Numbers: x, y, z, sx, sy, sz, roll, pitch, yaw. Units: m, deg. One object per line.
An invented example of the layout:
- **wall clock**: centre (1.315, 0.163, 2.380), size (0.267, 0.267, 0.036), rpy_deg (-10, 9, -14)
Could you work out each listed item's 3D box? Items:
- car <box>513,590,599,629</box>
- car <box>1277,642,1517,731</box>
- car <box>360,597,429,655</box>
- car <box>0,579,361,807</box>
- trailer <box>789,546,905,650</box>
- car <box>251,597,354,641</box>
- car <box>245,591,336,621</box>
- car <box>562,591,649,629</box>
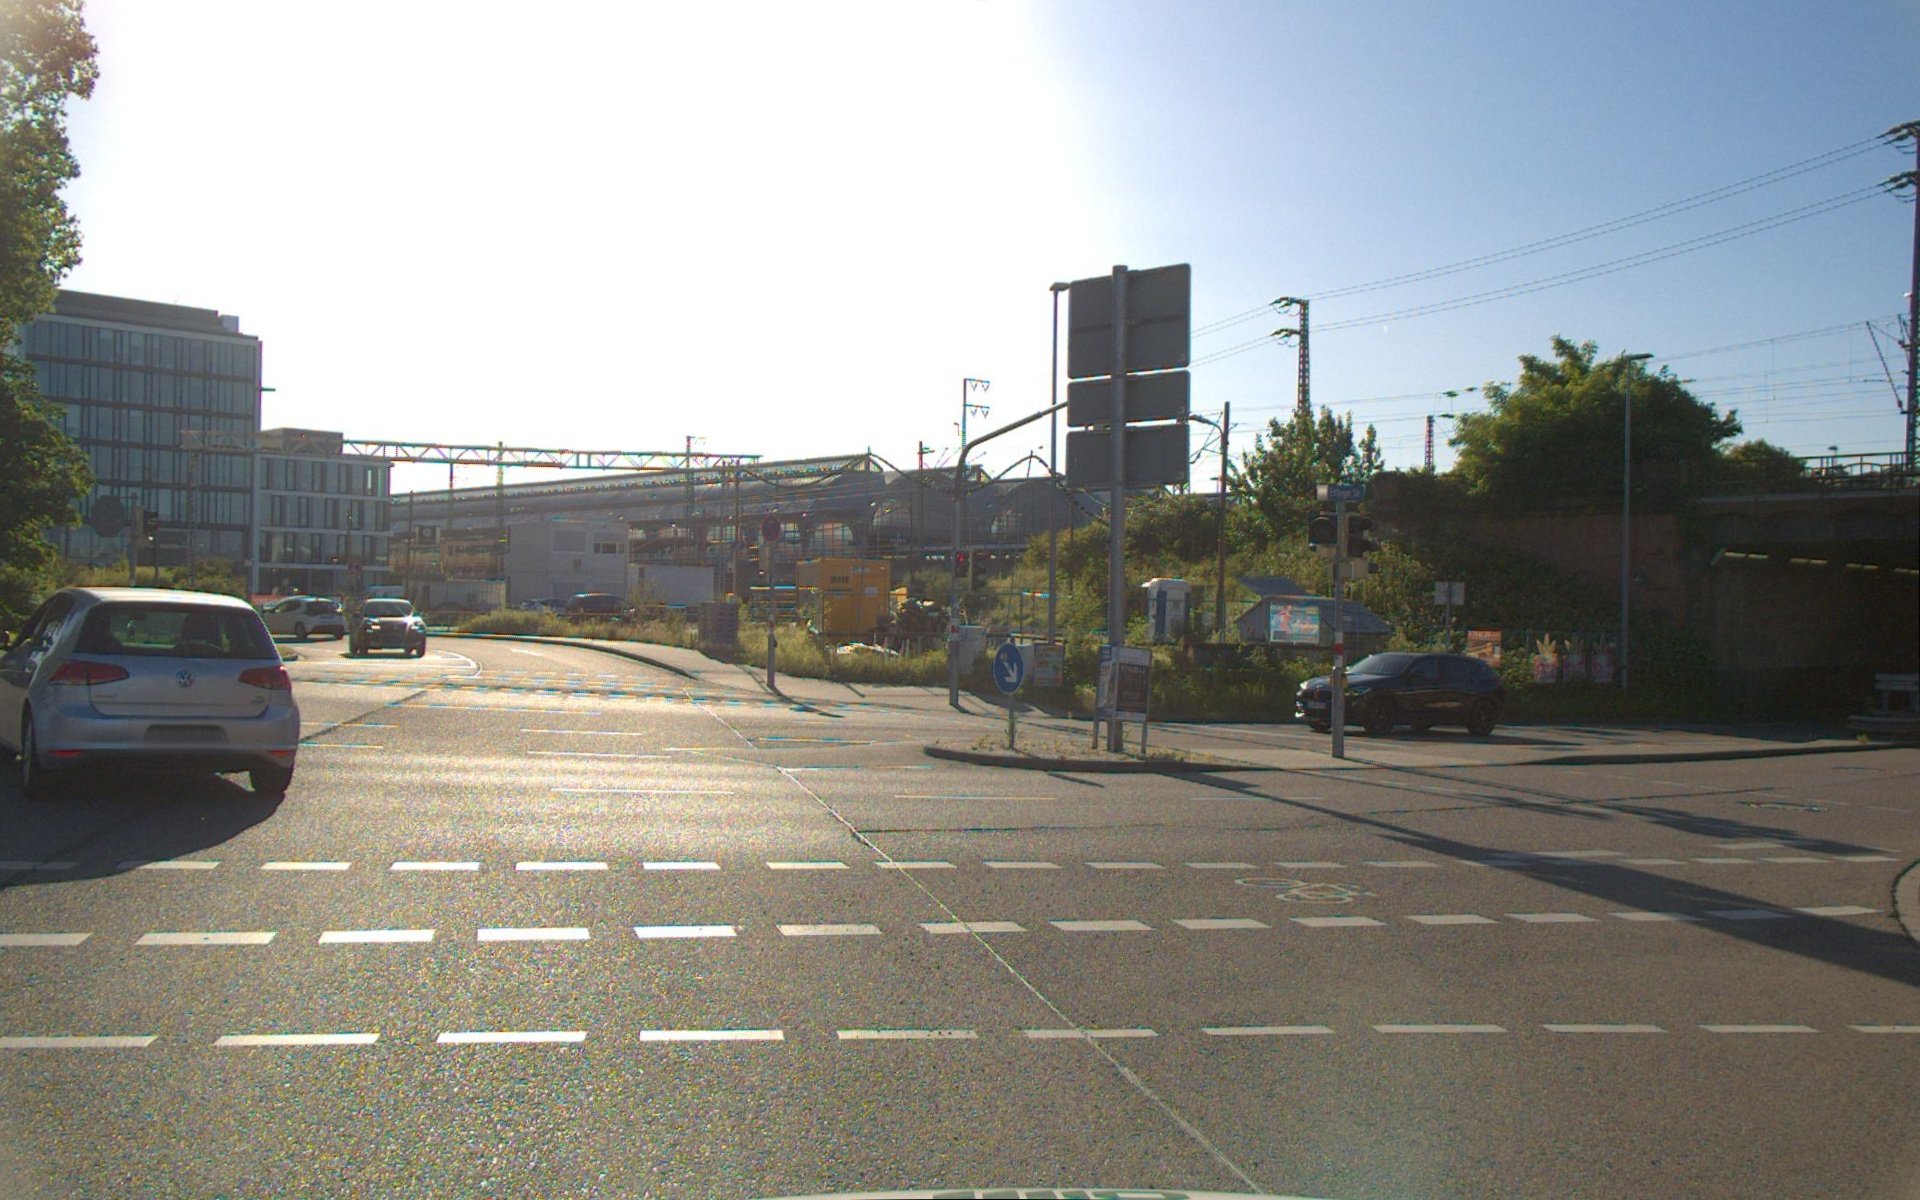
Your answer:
- **car**: centre (-20.852, 0.512, 85.421), size (3.953, 1.819, 1.635), rpy_deg (3, -1, -35)
- **car**: centre (8.293, 1.634, 31.307), size (4.328, 1.544, 1.936), rpy_deg (3, -2, -31)
- **car**: centre (-16.100, 0.709, 47.023), size (1.722, 1.502, 3.976), rpy_deg (2, 0, -20)
- **car**: centre (-6.182, 0.608, 12.731), size (1.955, 1.452, 3.887), rpy_deg (2, -1, -36)
- **trailer**: centre (-4.110, -0.046, 58.769), size (2.944, 3.349, 6.644), rpy_deg (3, -1, -13)
- **car**: centre (-24.633, 0.712, 61.940), size (3.920, 1.502, 1.747), rpy_deg (2, 0, 36)
- **car**: centre (-47.175, 0.440, 116.681), size (1.883, 1.877, 5.689), rpy_deg (2, 0, 41)
- **car**: centre (-17.755, 0.520, 82.896), size (3.953, 1.735, 1.596), rpy_deg (3, -1, -35)
